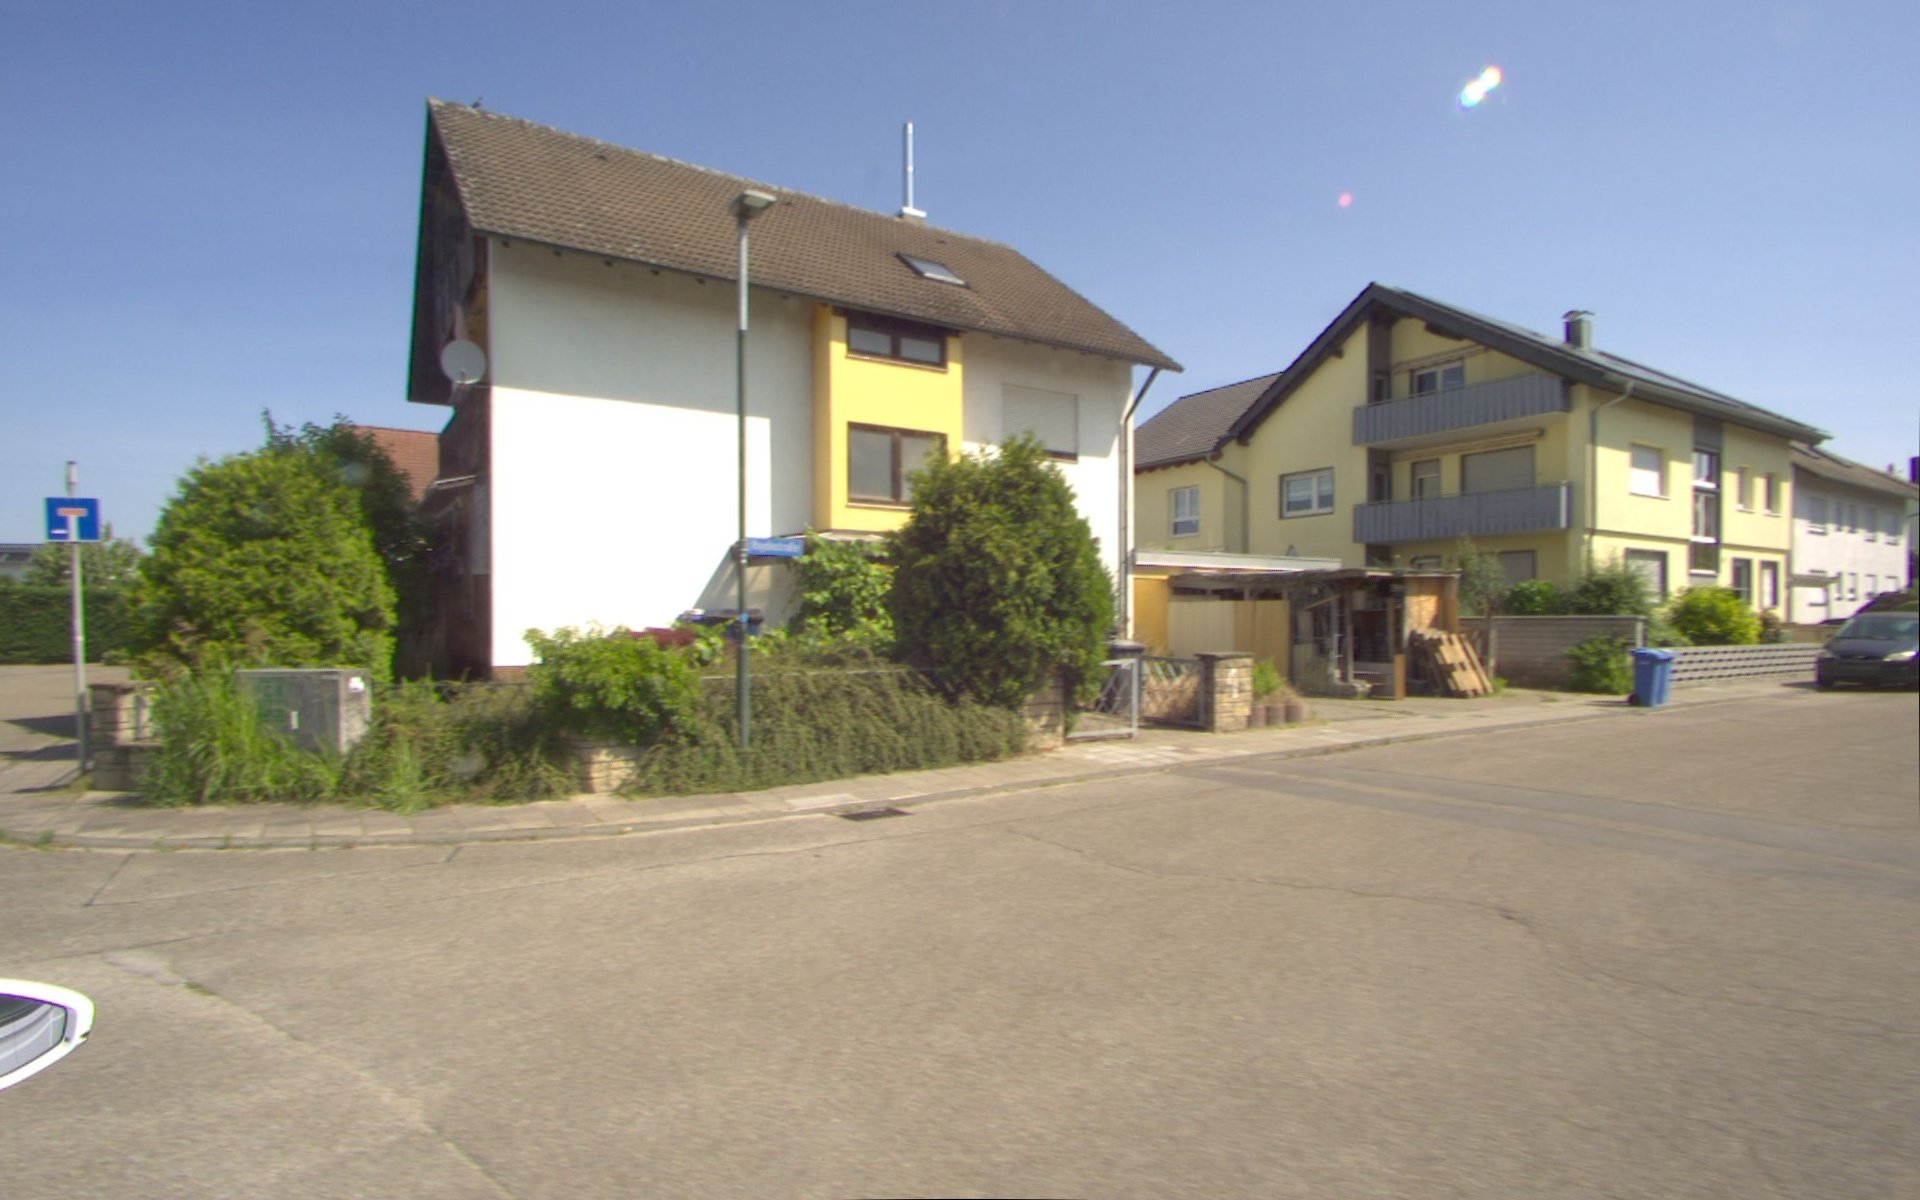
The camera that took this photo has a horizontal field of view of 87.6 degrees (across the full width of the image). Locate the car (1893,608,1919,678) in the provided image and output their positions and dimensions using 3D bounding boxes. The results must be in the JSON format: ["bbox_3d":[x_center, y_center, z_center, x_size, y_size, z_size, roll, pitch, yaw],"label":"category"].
[{"bbox_3d":[24.606,1.047,24.543,3.946,1.647,1.624,1,-1,-33],"label":"car"}]

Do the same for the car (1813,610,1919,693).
[{"bbox_3d":[20.047,1.062,21.440,3.946,1.647,1.624,1,-1,-33],"label":"car"}]

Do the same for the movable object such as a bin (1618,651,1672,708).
[{"bbox_3d":[11.672,1.335,17.054,0.590,0.928,0.581,0,-1,-35],"label":"movable object such as a bin"}]
